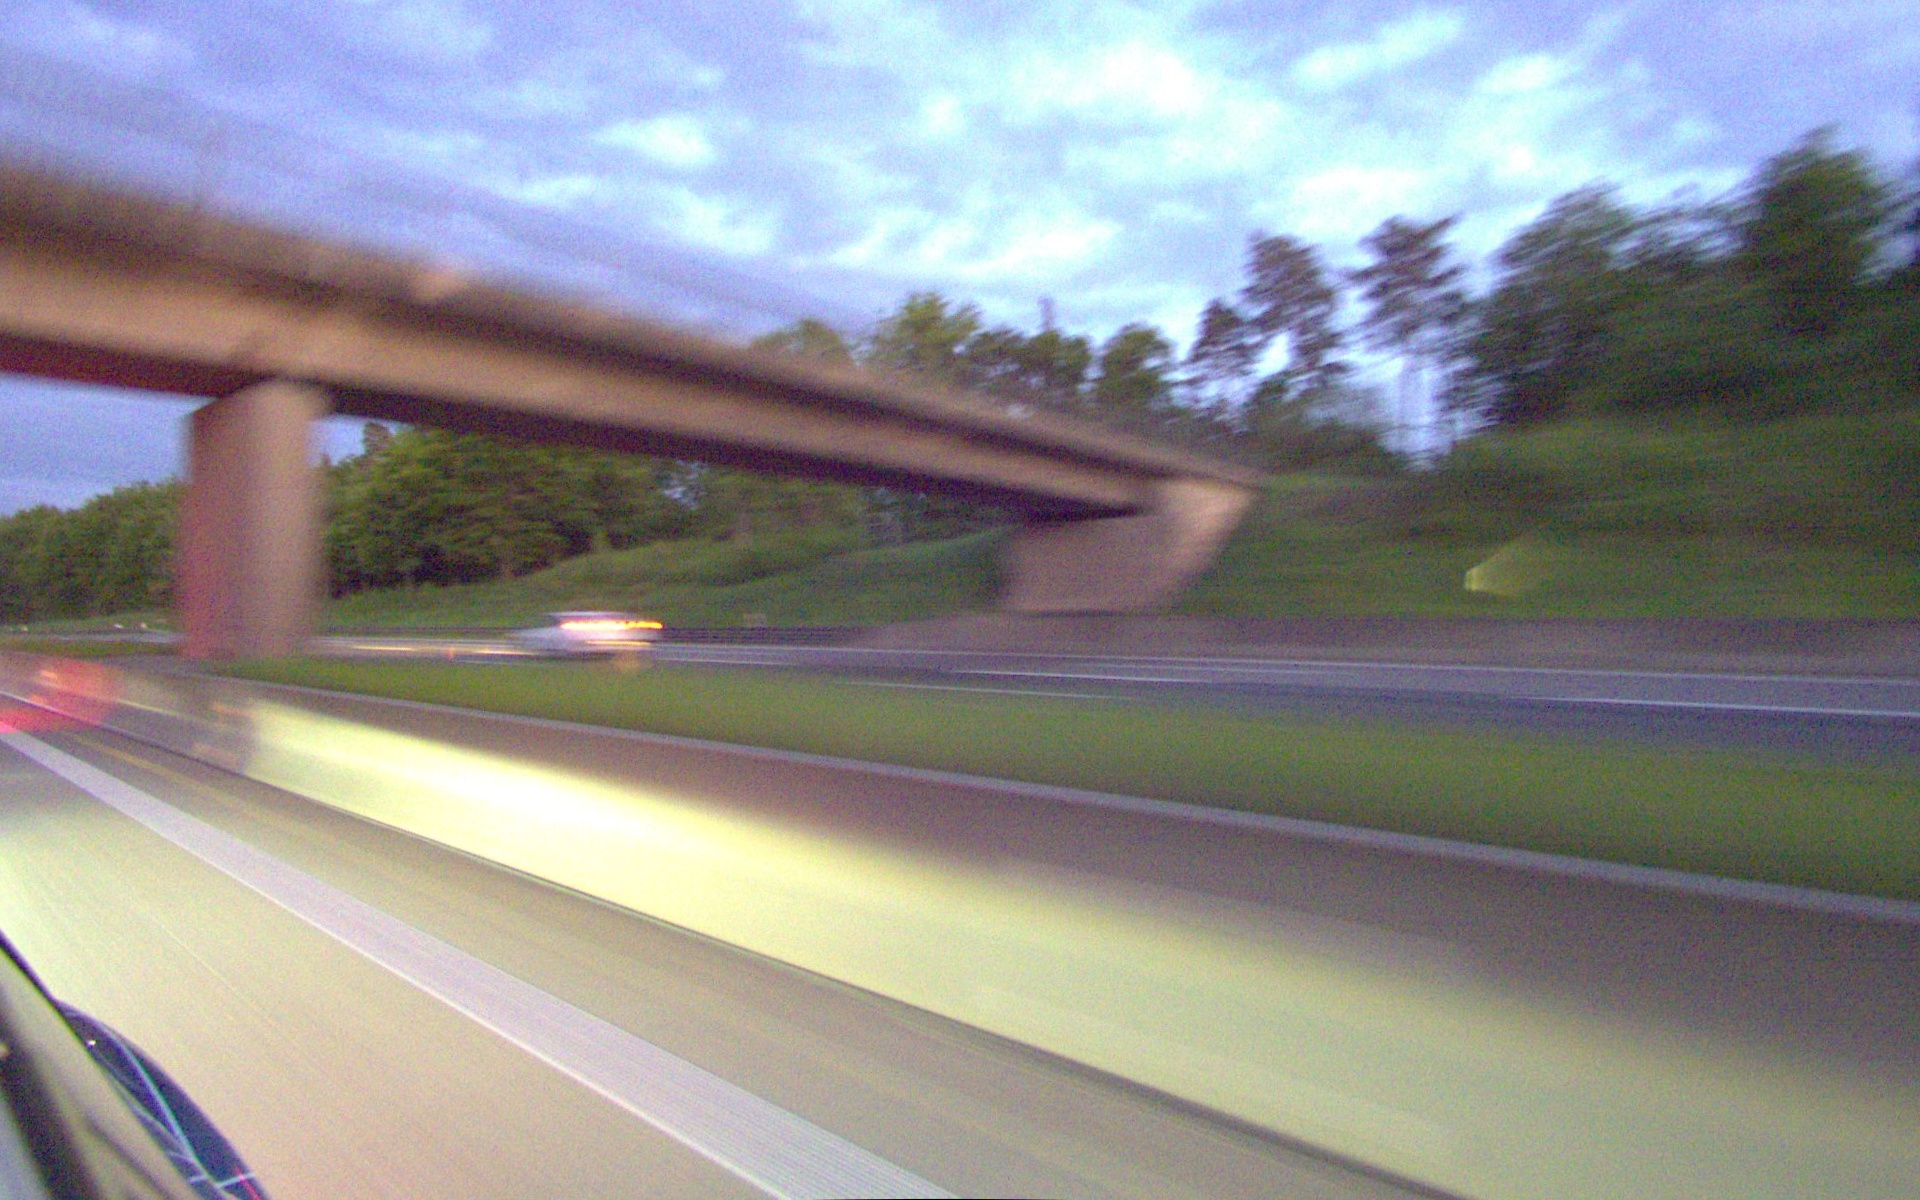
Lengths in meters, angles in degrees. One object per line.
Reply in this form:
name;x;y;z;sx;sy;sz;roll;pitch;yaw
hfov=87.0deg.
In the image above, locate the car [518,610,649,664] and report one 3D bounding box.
car;-11.571;1.154;30.962;4.426;1.532;1.793;-3;-2;40
